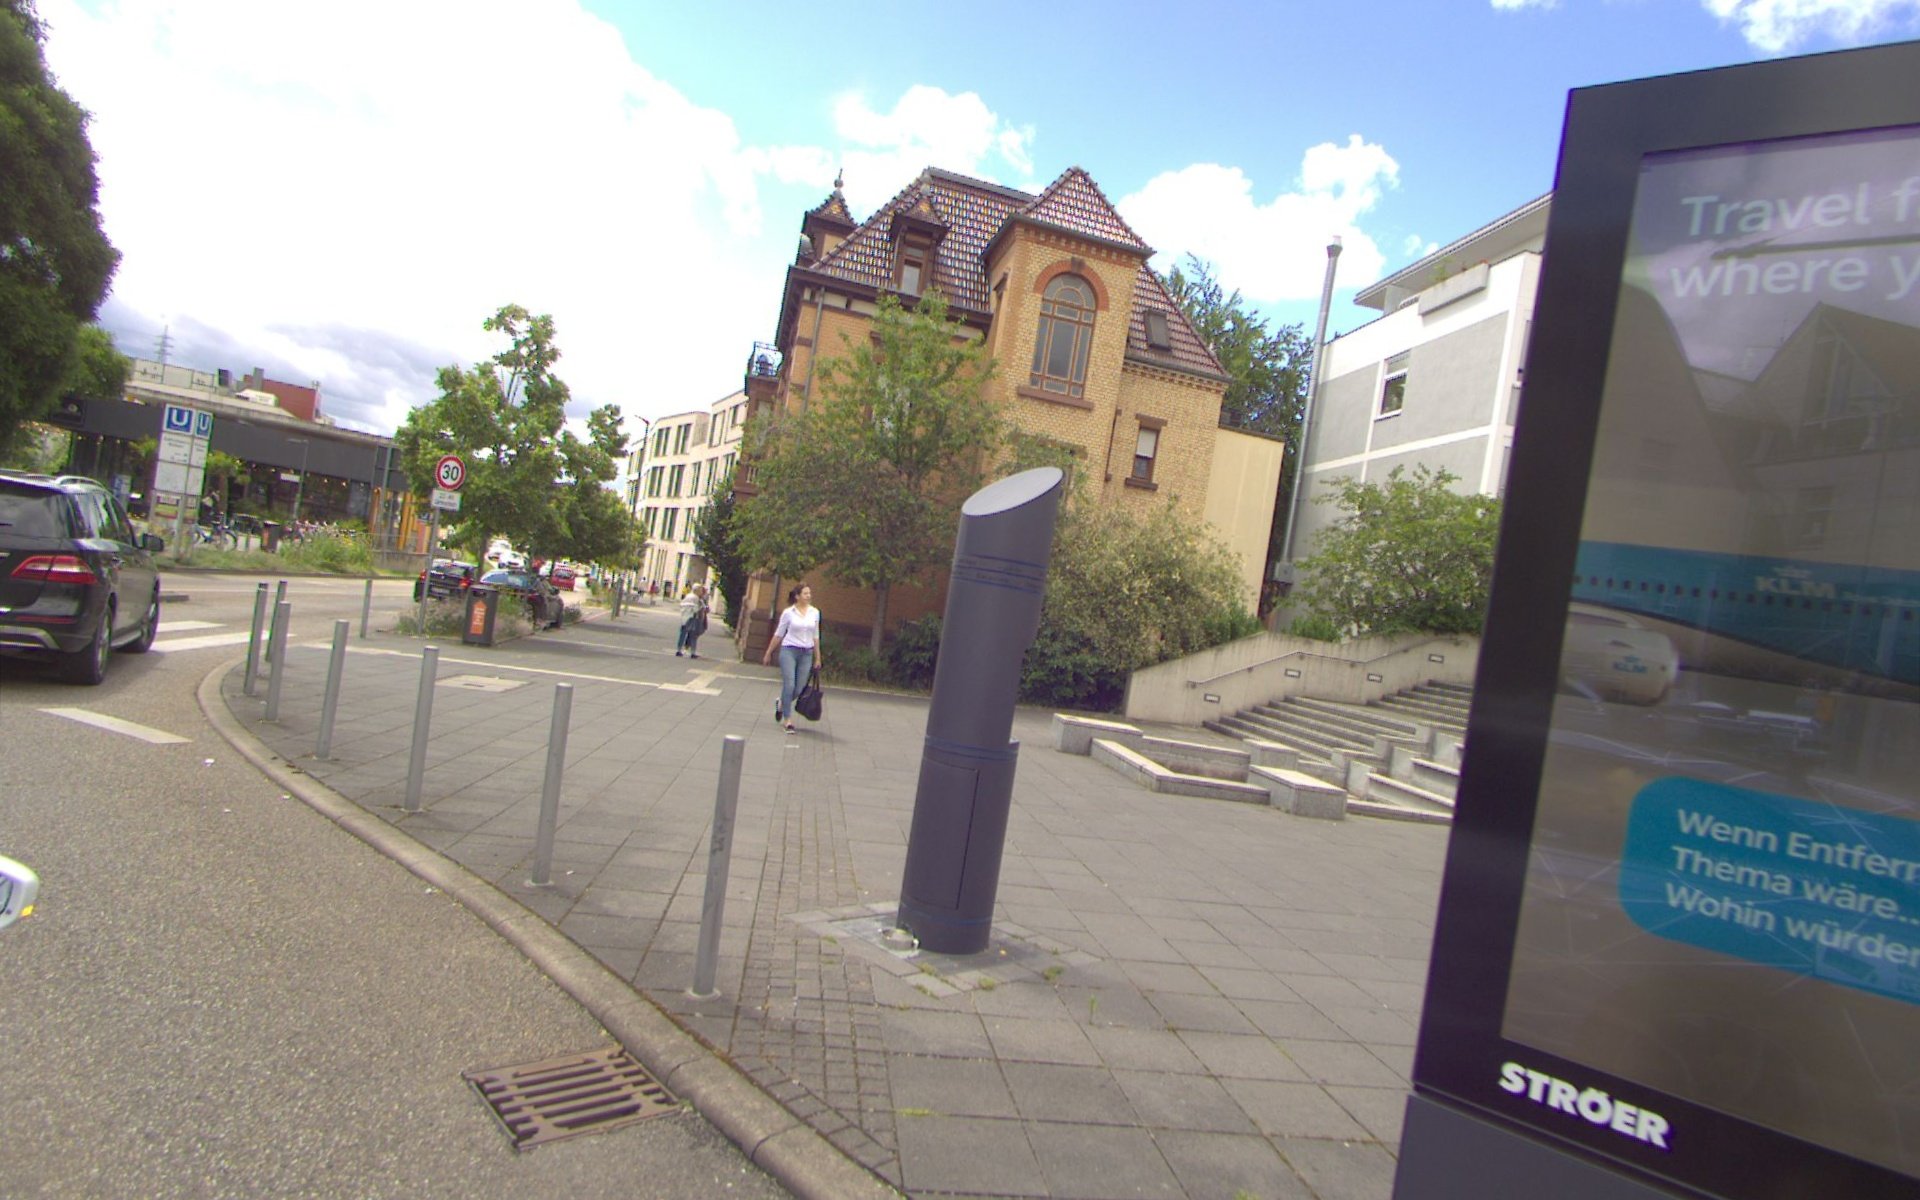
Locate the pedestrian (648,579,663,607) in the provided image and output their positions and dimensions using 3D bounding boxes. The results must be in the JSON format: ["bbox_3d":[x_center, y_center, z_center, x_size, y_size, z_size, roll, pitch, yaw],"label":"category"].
[{"bbox_3d":[-19.641,-0.469,64.858,0.655,1.702,0.566,8,0,-16],"label":"pedestrian"}]

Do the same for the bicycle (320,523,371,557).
[{"bbox_3d":[-25.264,-2.454,41.376,1.549,1.104,0.576,9,0,-15],"label":"bicycle"}]

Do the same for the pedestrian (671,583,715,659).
[{"bbox_3d":[-6.148,0.488,23.142,0.551,1.649,0.669,7,0,-42],"label":"pedestrian"}]

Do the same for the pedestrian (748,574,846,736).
[{"bbox_3d":[-1.919,0.635,11.808,0.700,1.767,0.770,7,1,-32],"label":"pedestrian"}]

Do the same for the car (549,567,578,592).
[{"bbox_3d":[-26.635,-1.379,67.553,1.593,1.399,3.815,8,-1,-23],"label":"car"}]

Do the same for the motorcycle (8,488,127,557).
[{"bbox_3d":[-22.358,-1.929,25.232,2.106,1.305,0.581,10,2,-13],"label":"motorcycle"}]

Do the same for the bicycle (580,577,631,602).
[{"bbox_3d":[-23.092,-0.689,65.603,3.027,1.160,0.707,9,0,-20],"label":"bicycle"}]

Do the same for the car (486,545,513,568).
[{"bbox_3d":[-46.160,-4.406,100.777,1.829,1.878,4.463,11,-2,-29],"label":"car"}]

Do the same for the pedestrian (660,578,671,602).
[{"bbox_3d":[-21.424,-0.734,73.260,0.552,1.702,0.566,8,0,-18],"label":"pedestrian"}]

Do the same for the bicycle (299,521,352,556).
[{"bbox_3d":[-24.920,-2.392,39.530,1.549,1.104,0.576,9,0,-15],"label":"bicycle"}]

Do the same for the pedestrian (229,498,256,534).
[{"bbox_3d":[-31.689,-3.693,44.425,0.573,1.481,0.615,8,0,-6],"label":"pedestrian"}]

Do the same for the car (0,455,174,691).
[{"bbox_3d":[-8.826,-0.393,9.271,2.015,1.748,4.392,8,-1,-34],"label":"car"}]

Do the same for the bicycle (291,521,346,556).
[{"bbox_3d":[-24.714,-2.354,38.774,1.549,1.081,0.537,9,0,-15],"label":"bicycle"}]

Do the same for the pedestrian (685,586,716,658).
[{"bbox_3d":[-6.155,0.518,23.857,0.498,1.649,0.508,7,0,-19],"label":"pedestrian"}]

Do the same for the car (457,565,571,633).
[{"bbox_3d":[-11.659,-0.021,26.598,1.833,1.422,4.364,8,-1,-13],"label":"car"}]

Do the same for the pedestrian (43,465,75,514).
[{"bbox_3d":[-31.280,-3.844,34.933,0.575,1.596,0.613,8,0,42],"label":"pedestrian"}]

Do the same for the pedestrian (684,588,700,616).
[{"bbox_3d":[-15.970,0.111,59.962,0.704,1.581,0.565,8,0,-21],"label":"pedestrian"}]

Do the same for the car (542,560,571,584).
[{"bbox_3d":[-32.466,-2.241,81.068,1.823,1.541,3.981,11,-2,-20],"label":"car"}]

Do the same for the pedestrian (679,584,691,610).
[{"bbox_3d":[-18.759,-0.227,68.550,0.552,1.711,0.636,8,0,-18],"label":"pedestrian"}]

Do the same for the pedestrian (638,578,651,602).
[{"bbox_3d":[-23.431,-0.719,74.651,0.556,1.702,0.562,8,0,-37],"label":"pedestrian"}]

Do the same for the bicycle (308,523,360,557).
[{"bbox_3d":[-25.150,-2.411,40.447,1.549,1.104,0.576,9,0,-15],"label":"bicycle"}]

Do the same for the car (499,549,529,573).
[{"bbox_3d":[-37.549,-3.301,84.662,1.828,1.625,3.971,12,-2,-28],"label":"car"}]

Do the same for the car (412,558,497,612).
[{"bbox_3d":[-15.956,-0.491,31.907,1.590,1.399,3.823,8,-1,-16],"label":"car"}]

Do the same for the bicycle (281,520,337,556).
[{"bbox_3d":[-24.585,-2.327,38.015,1.549,1.104,0.576,9,0,-15],"label":"bicycle"}]

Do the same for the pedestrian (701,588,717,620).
[{"bbox_3d":[-13.697,0.216,54.894,0.624,1.645,0.696,8,0,-19],"label":"pedestrian"}]

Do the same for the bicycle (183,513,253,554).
[{"bbox_3d":[-23.075,-2.062,31.299,1.590,1.009,0.499,9,0,-9],"label":"bicycle"}]

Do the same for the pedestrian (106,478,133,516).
[{"bbox_3d":[-33.704,-4.129,40.338,0.576,1.396,0.612,8,0,-27],"label":"pedestrian"}]
